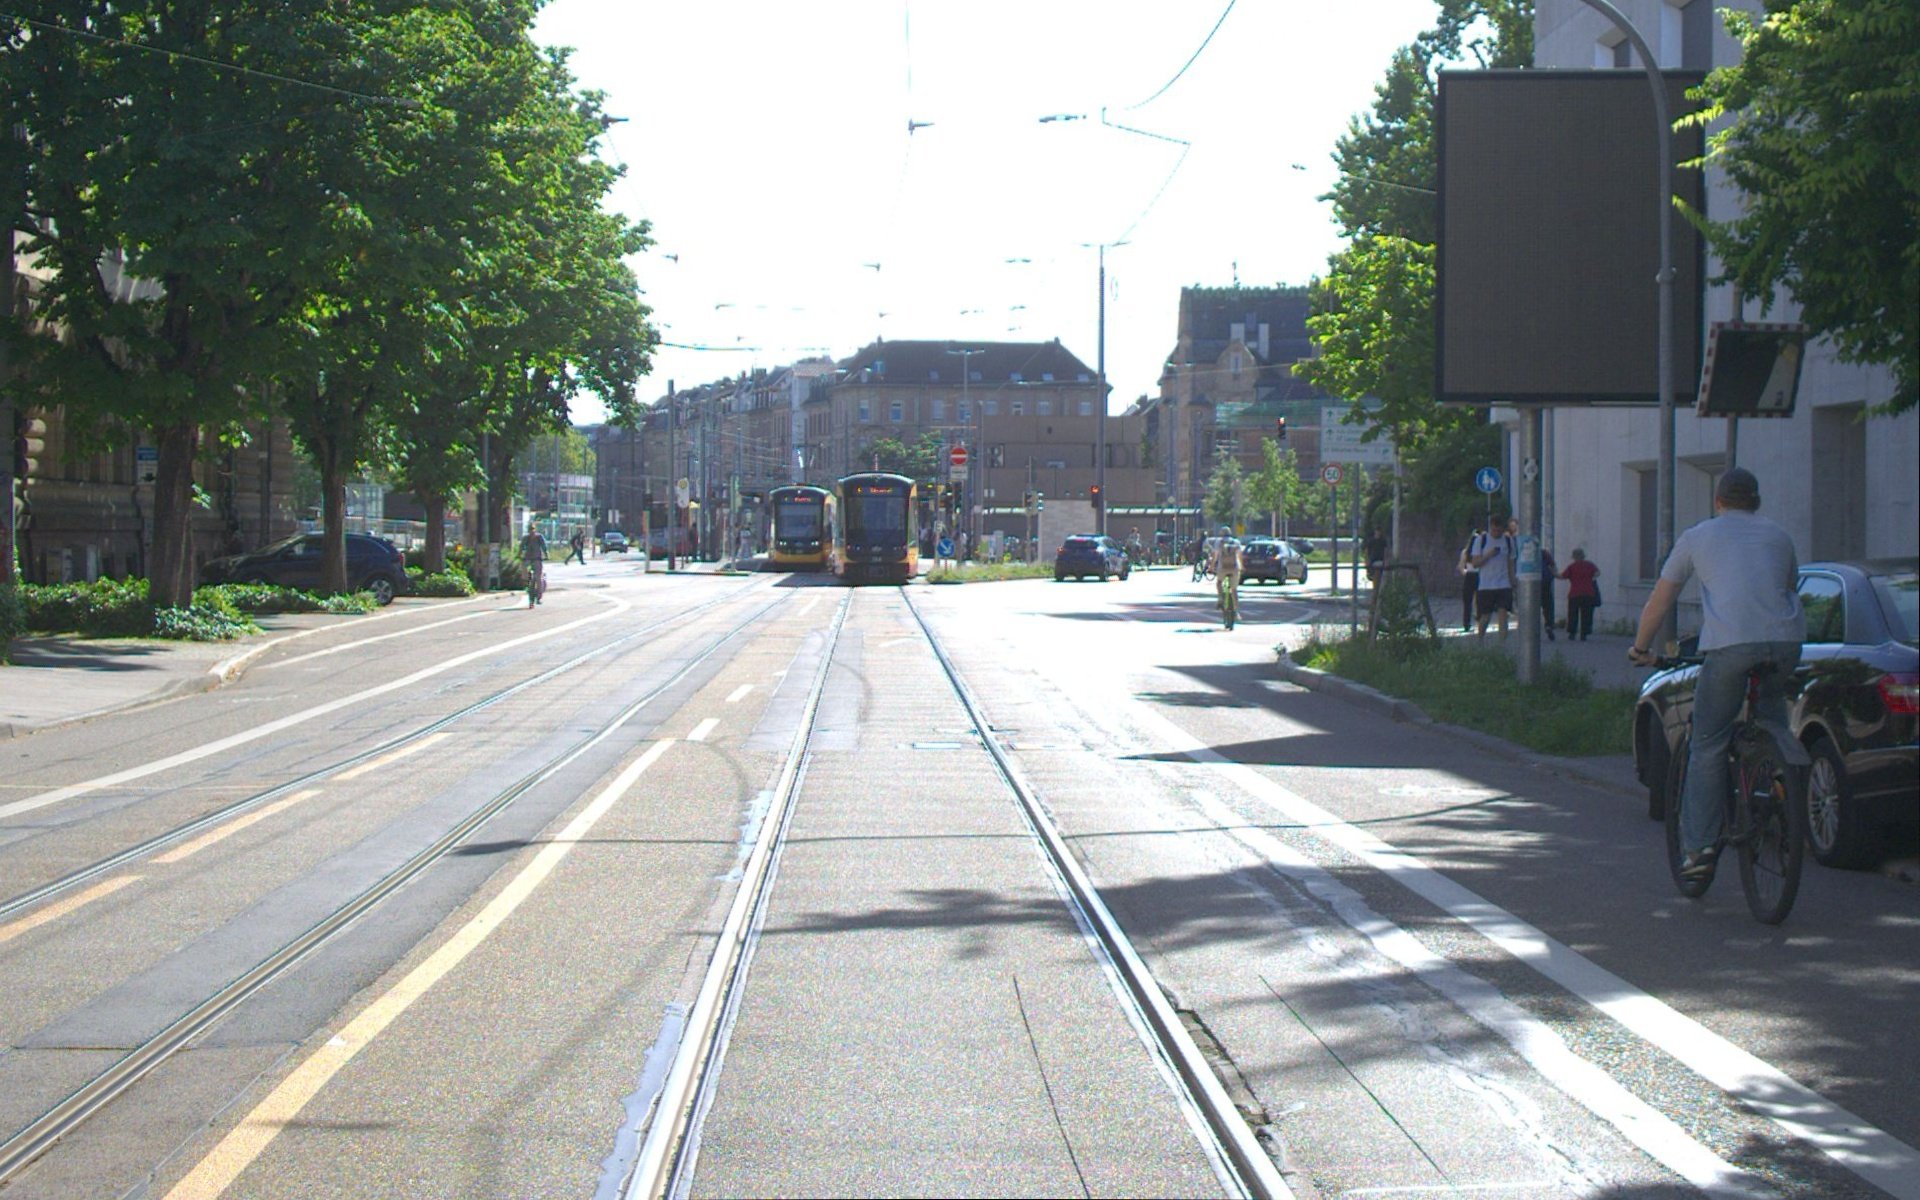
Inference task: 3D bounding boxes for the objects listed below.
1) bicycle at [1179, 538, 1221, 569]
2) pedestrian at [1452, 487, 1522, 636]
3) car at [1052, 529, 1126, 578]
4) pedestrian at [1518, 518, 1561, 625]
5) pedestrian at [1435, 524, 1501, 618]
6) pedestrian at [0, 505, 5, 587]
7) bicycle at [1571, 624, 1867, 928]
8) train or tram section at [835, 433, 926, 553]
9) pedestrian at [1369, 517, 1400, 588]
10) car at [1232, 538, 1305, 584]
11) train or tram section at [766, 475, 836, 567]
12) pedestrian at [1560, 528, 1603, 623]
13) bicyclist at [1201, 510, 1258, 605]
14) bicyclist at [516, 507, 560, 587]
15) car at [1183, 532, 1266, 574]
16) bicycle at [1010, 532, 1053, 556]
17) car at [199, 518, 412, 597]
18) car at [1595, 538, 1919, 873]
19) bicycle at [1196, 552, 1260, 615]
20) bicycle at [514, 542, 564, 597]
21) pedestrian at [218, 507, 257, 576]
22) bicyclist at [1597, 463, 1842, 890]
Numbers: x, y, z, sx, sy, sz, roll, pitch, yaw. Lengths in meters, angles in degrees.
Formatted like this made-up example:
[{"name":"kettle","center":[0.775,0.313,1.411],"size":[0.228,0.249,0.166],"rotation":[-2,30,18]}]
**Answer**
[{"name":"bicycle","center":[8.463,-1.650,121.096],"size":[0.706,1.051,2.311],"rotation":[4,2,23]},{"name":"pedestrian","center":[6.624,-0.485,43.204],"size":[0.683,1.843,0.955],"rotation":[-1,1,-2]},{"name":"car","center":[4.453,-1.610,118.176],"size":[1.790,1.599,3.710],"rotation":[2,1,14]},{"name":"pedestrian","center":[8.673,-0.430,51.495],"size":[0.518,1.595,0.764],"rotation":[1,1,2]},{"name":"pedestrian","center":[8.944,-0.508,60.512],"size":[0.858,1.635,0.992],"rotation":[0,-1,27]},{"name":"pedestrian","center":[-15.949,-0.667,55.488],"size":[0.729,1.791,0.780],"rotation":[4,1,2]},{"name":"bicycle","center":[3.112,0.685,14.304],"size":[0.738,1.090,2.111],"rotation":[2,1,1]},{"name":"train or tram section","center":[-2.684,-3.478,112.321],"size":[2.742,3.639,13.787],"rotation":[1,1,-2]},{"name":"pedestrian","center":[11.417,-1.277,92.513],"size":[0.637,1.897,1.134],"rotation":[-1,1,0]},{"name":"car","center":[10.729,-1.366,119.363],"size":[1.790,1.506,3.710],"rotation":[2,1,16]},{"name":"train or tram section","center":[-6.633,-3.366,144.712],"size":[2.742,3.639,13.787],"rotation":[1,1,-2]},{"name":"pedestrian","center":[9.287,-0.367,51.386],"size":[0.518,1.399,0.764],"rotation":[1,1,2]},{"name":"bicyclist","center":[4.871,-0.768,62.158],"size":[0.705,1.669,1.100],"rotation":[3,2,18]},{"name":"bicyclist","center":[-8.801,-1.111,71.772],"size":[0.687,1.639,1.237],"rotation":[-1,1,3]},{"name":"car","center":[10.839,-1.919,140.697],"size":[1.705,1.638,3.705],"rotation":[3,2,34]},{"name":"bicycle","center":[3.340,-2.609,160.670],"size":[1.933,1.099,0.599],"rotation":[1,1,-3]},{"name":"car","center":[-13.815,-0.893,72.563],"size":[3.986,1.544,1.878],"rotation":[1,1,-28]},{"name":"car","center":[4.835,0.425,17.809],"size":[1.821,1.453,4.819],"rotation":[-1,1,-5]},{"name":"bicycle","center":[4.852,-0.303,62.172],"size":[0.705,1.101,1.715],"rotation":[3,2,18]},{"name":"bicycle","center":[-8.790,-0.643,71.799],"size":[0.686,1.120,1.931],"rotation":[-1,1,3]},{"name":"pedestrian","center":[-17.547,-1.416,83.501],"size":[0.700,1.629,0.759],"rotation":[3,1,-1]},{"name":"bicyclist","center":[3.128,0.297,14.239],"size":[0.738,1.680,0.972],"rotation":[2,1,1]}]
